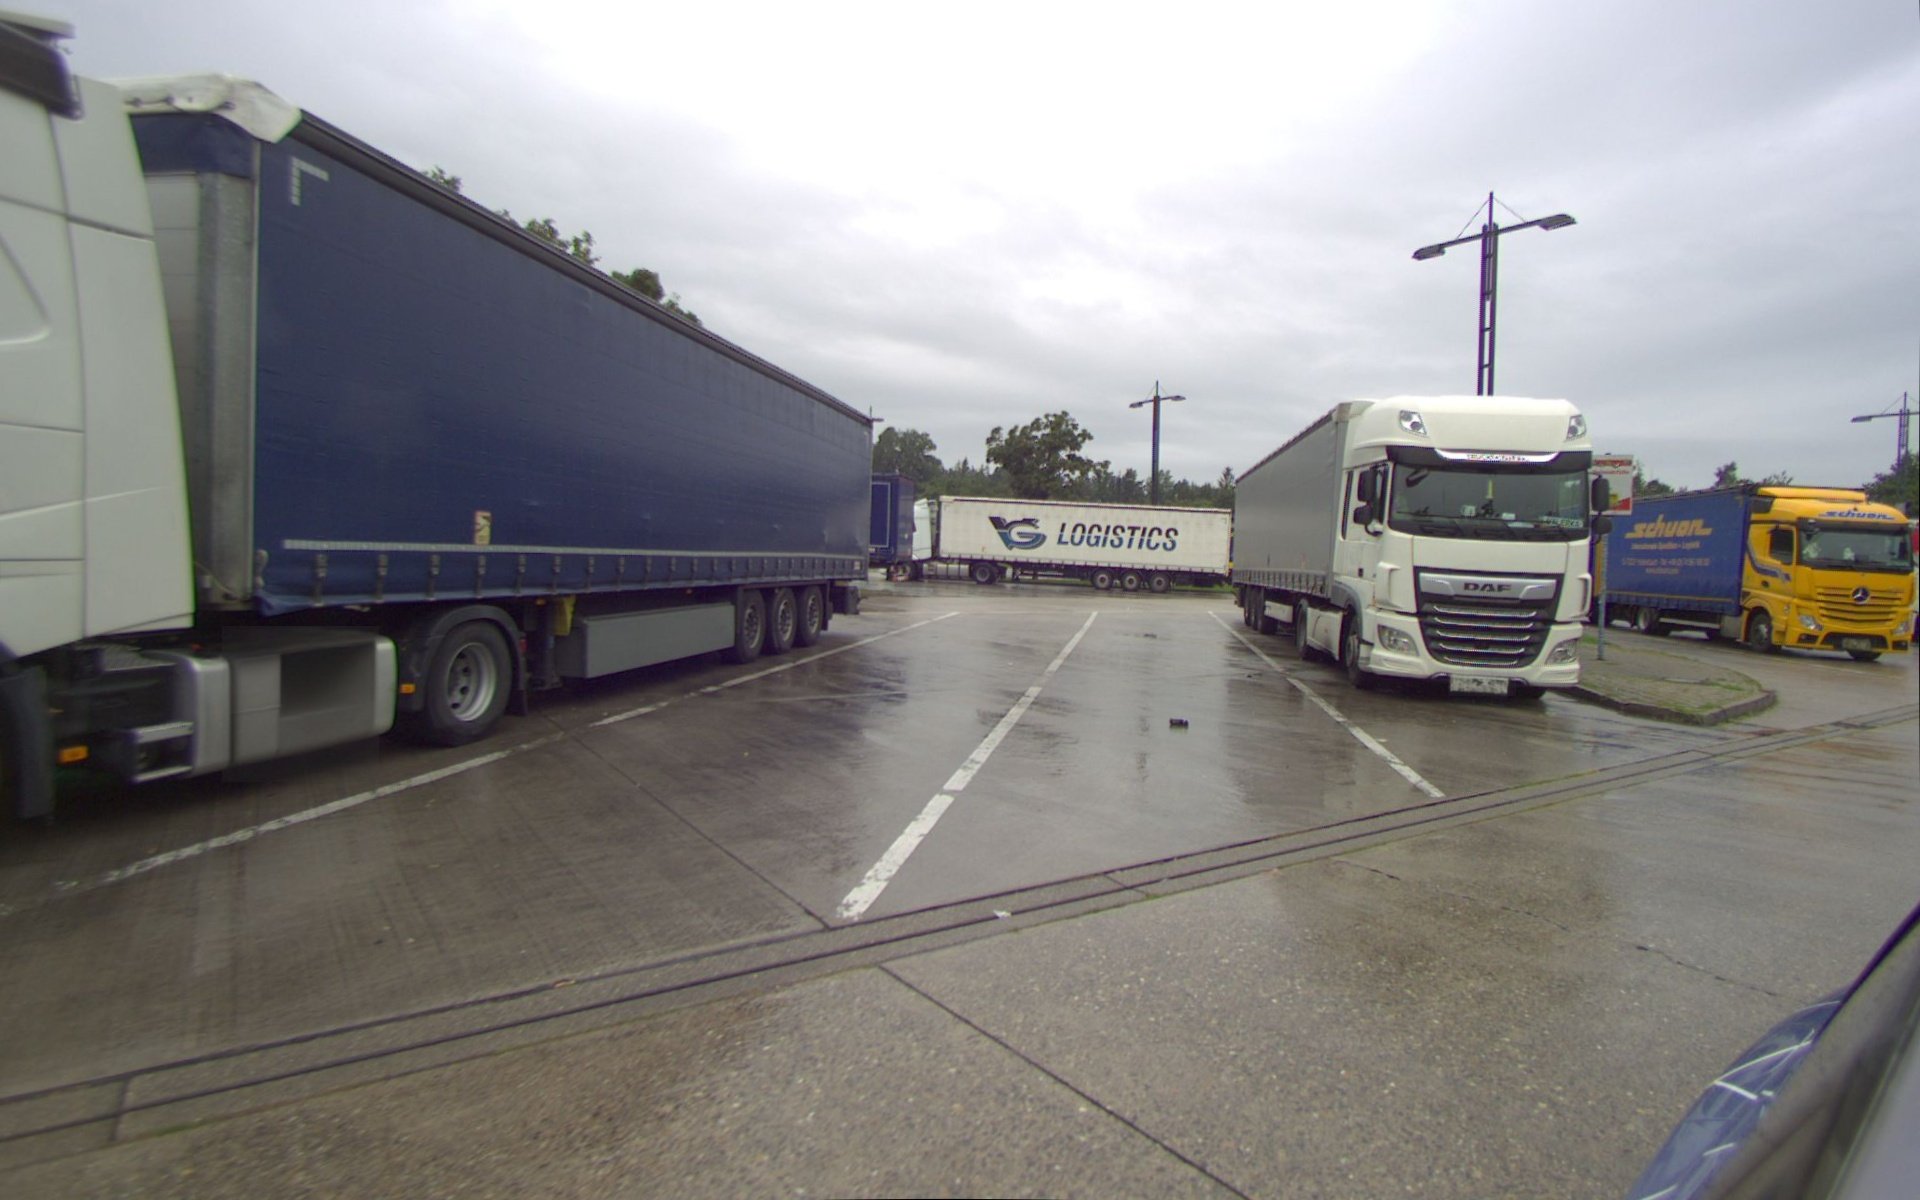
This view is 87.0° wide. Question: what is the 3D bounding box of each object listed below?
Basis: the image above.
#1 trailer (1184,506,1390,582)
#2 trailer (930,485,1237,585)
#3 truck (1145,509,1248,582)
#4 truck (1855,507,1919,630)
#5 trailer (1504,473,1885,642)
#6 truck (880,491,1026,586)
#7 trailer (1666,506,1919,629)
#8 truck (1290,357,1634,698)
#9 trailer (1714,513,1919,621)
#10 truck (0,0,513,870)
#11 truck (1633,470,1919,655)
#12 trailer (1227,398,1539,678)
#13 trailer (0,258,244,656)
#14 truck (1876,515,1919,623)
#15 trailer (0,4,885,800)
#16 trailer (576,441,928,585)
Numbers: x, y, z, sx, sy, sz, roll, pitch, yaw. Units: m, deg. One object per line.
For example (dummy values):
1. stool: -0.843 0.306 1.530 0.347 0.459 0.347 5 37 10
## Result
1. trailer: 17.277 -2.936 54.097 10.215 3.803 2.065 0 0 9
2. trailer: 5.666 -2.925 47.626 13.937 4.311 2.660 0 0 10
3. truck: 12.720 -2.912 54.785 5.251 3.803 2.065 0 0 9
4. truck: 32.758 -0.961 32.732 3.191 3.966 5.014 2 3 7
5. trailer: 22.100 -1.418 32.651 2.823 3.966 16.591 3 3 10
6. truck: -0.290 -2.883 48.747 6.675 4.329 2.660 0 0 10
7. trailer: 33.575 -1.317 39.417 3.191 3.966 14.810 2 3 7
8. truck: 6.773 -0.995 14.666 2.785 3.960 5.399 2 2 9
9. trailer: 37.348 -1.393 42.092 2.827 3.966 13.916 2 3 7
10. truck: -5.262 -1.039 5.403 2.781 4.195 5.290 2 3 10
11. truck: 20.921 -1.010 26.095 2.796 3.966 8.108 3 3 11
12. trailer: 7.905 -1.246 21.581 2.798 3.966 13.924 3 3 9
13. trailer: -12.096 -1.370 7.067 2.780 4.199 13.942 2 3 8
14. truck: 36.588 -1.031 35.721 2.850 3.966 6.546 2 3 7
15. trailer: -4.030 -1.407 12.530 2.781 4.221 13.961 2 3 10
16. trailer: -7.317 -3.094 36.033 11.838 4.528 3.251 3 2 10
